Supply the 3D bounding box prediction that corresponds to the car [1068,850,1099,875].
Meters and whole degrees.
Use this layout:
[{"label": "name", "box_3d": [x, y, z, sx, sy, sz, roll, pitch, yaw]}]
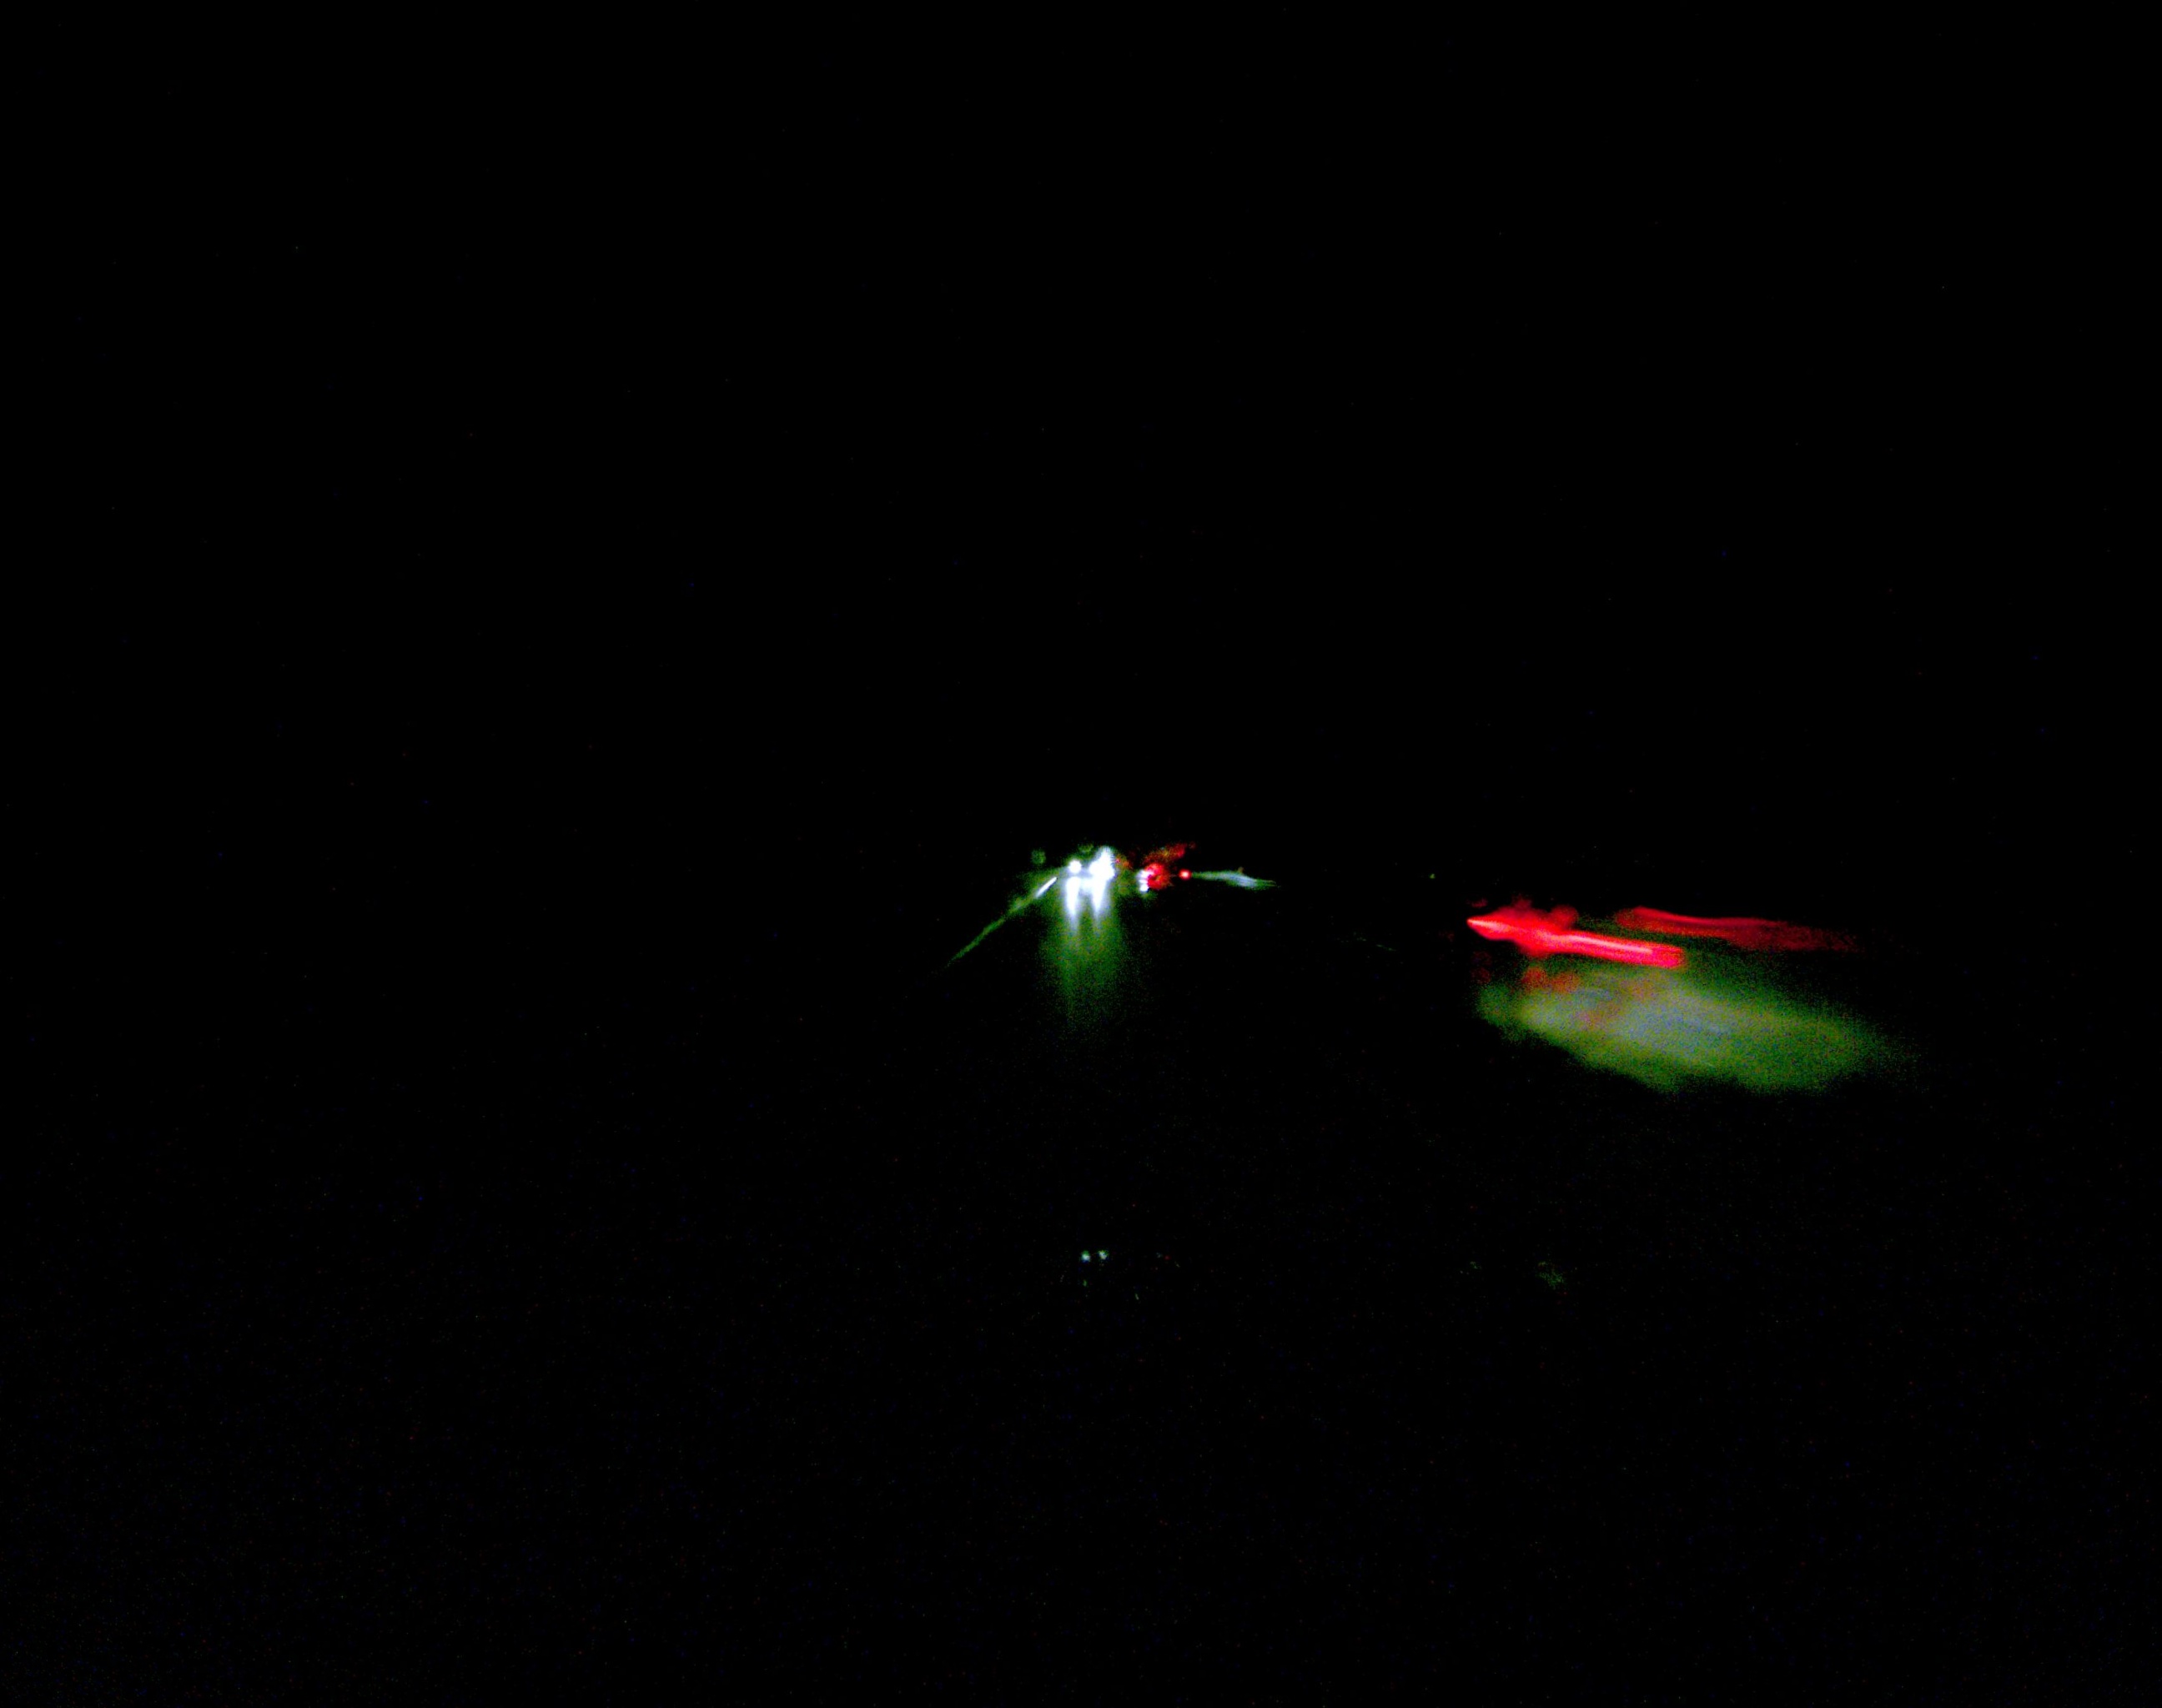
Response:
[{"label": "car", "box_3d": [0.217, 0.618, 57.681, 1.998, 1.804, 4.002, 1, 0, 4]}]
